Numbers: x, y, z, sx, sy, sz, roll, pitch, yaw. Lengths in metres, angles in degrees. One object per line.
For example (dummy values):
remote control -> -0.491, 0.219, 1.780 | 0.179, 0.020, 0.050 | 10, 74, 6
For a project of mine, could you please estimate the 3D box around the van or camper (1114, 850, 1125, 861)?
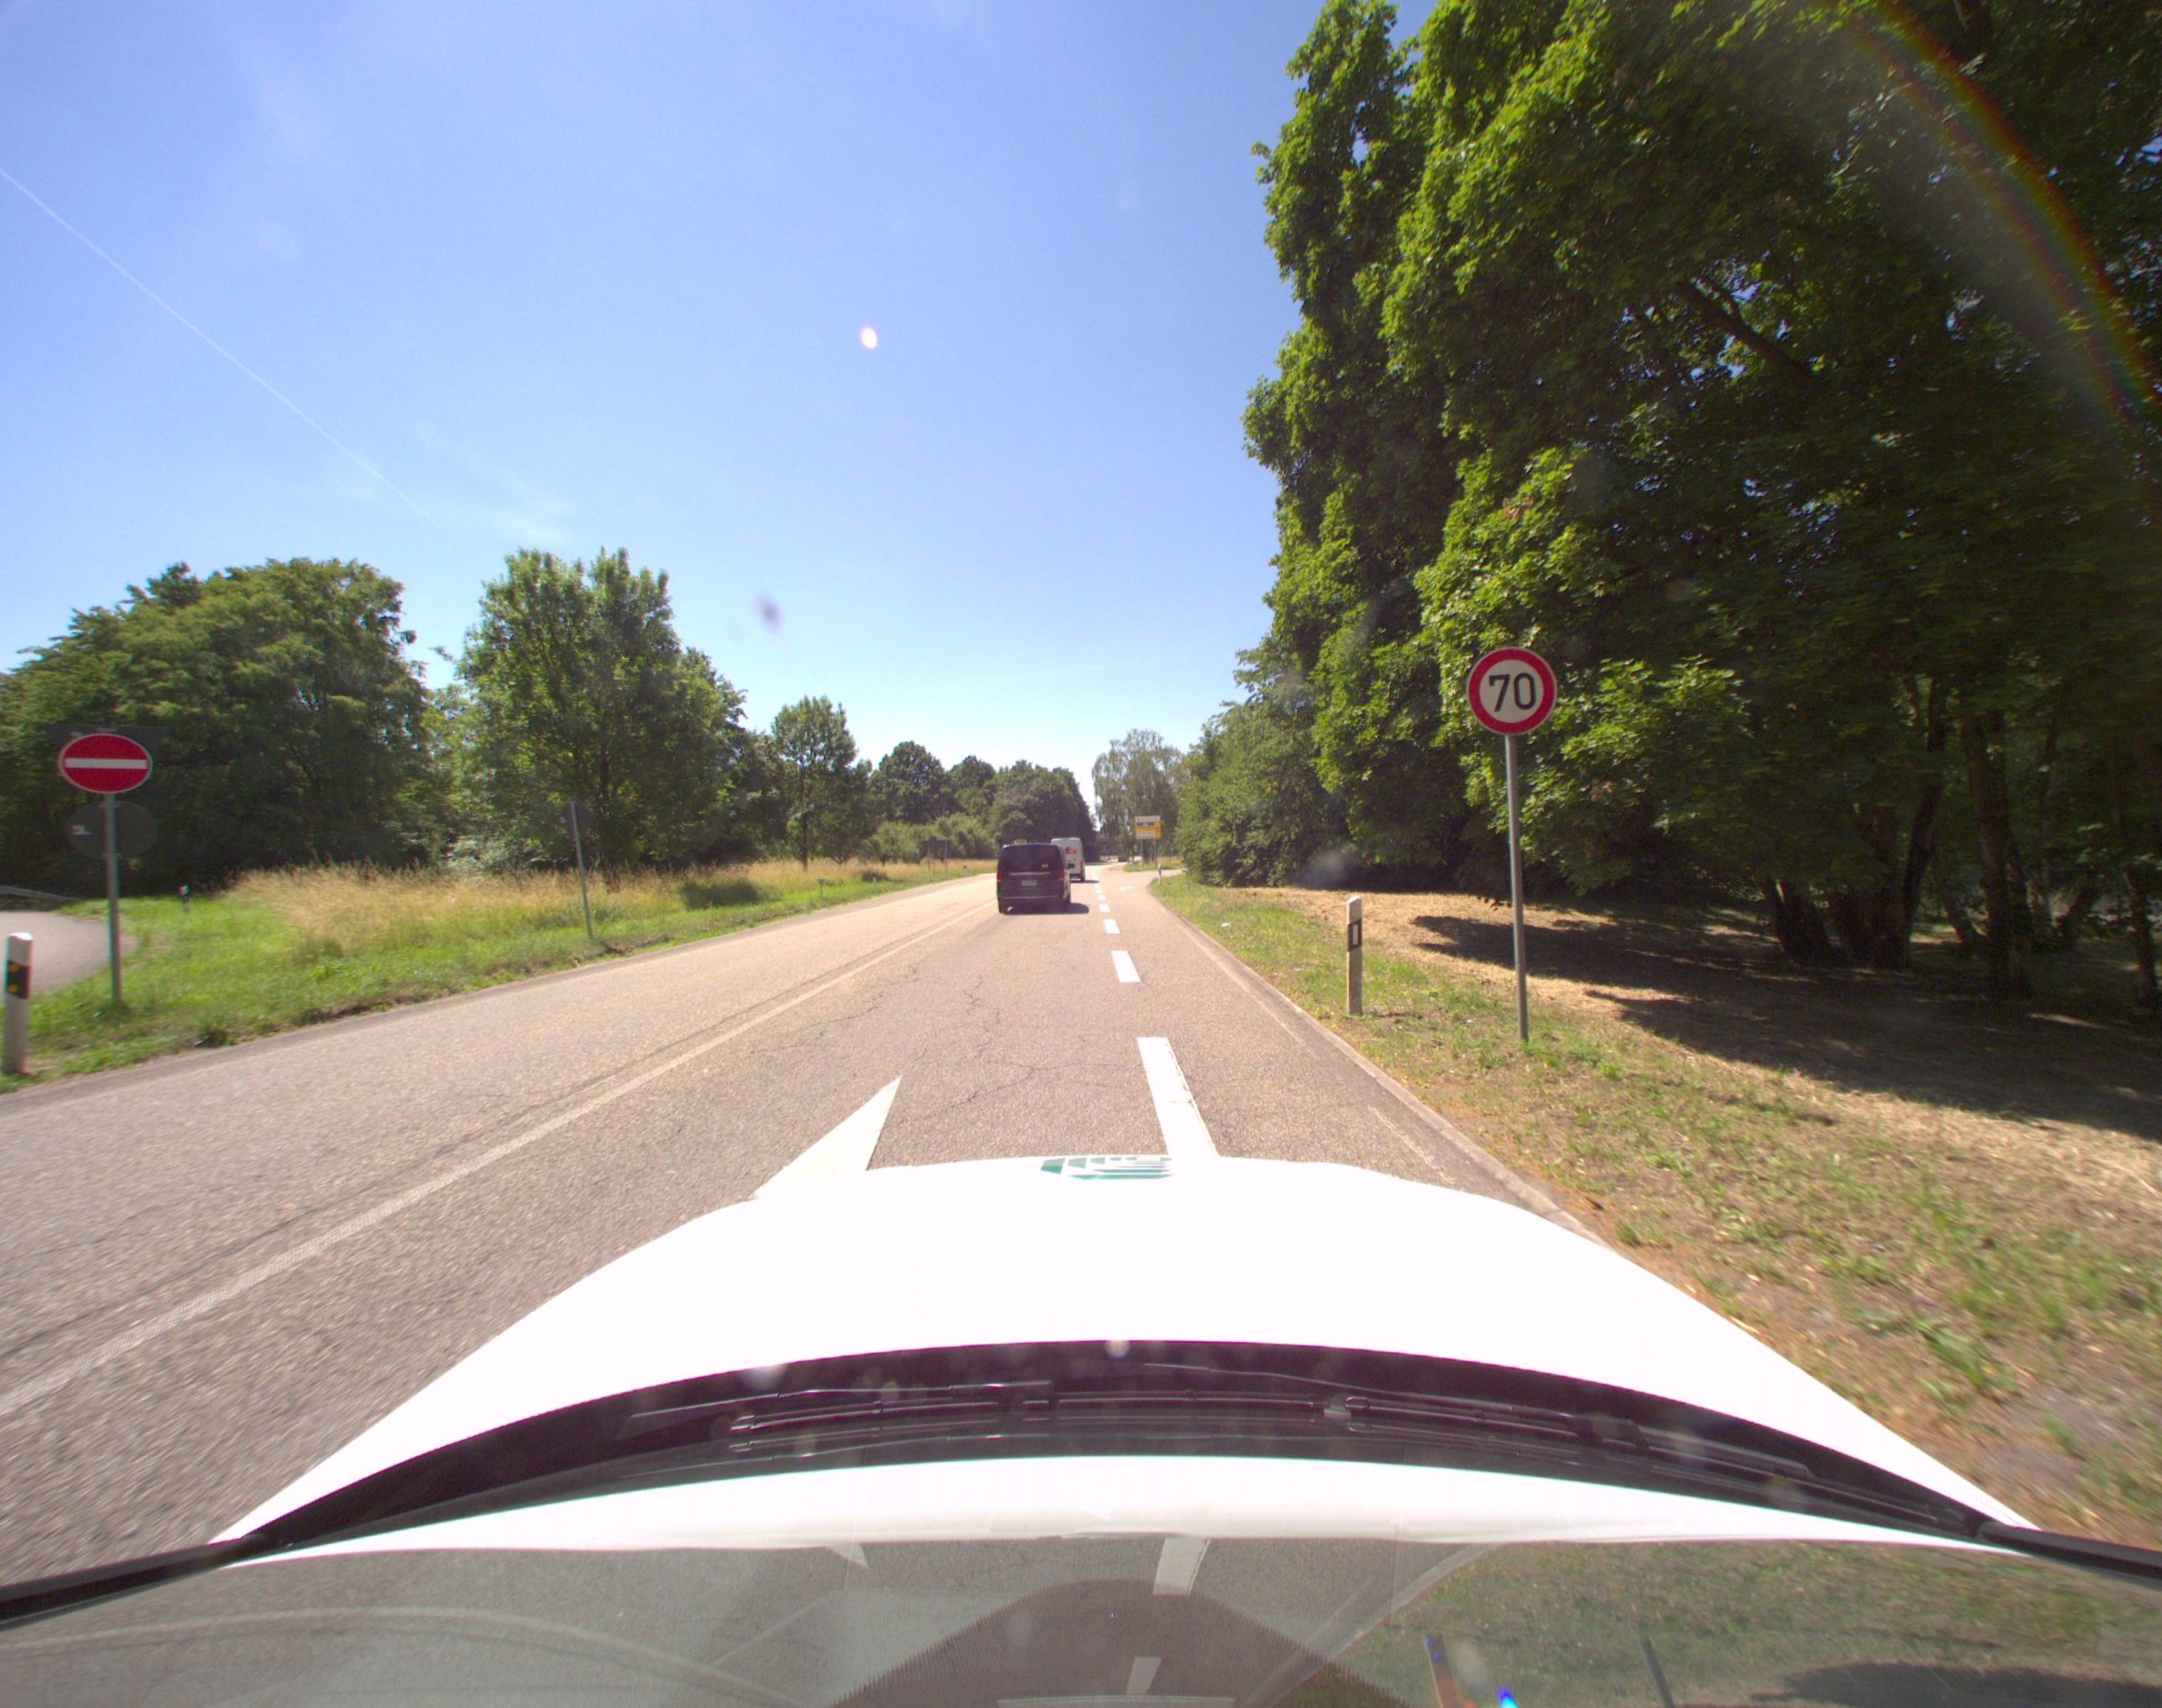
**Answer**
van or camper -> 10.443, 0.481, 218.999 | 2.623, 2.929, 5.205 | -1, -1, 0

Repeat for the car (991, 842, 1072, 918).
car -> -1.291, 0.675, 23.448 | 1.987, 1.952, 5.004 | 0, 0, 0

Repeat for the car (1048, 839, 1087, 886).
car -> -0.746, 0.495, 48.356 | 2.070, 2.702, 4.668 | 0, 0, 2
